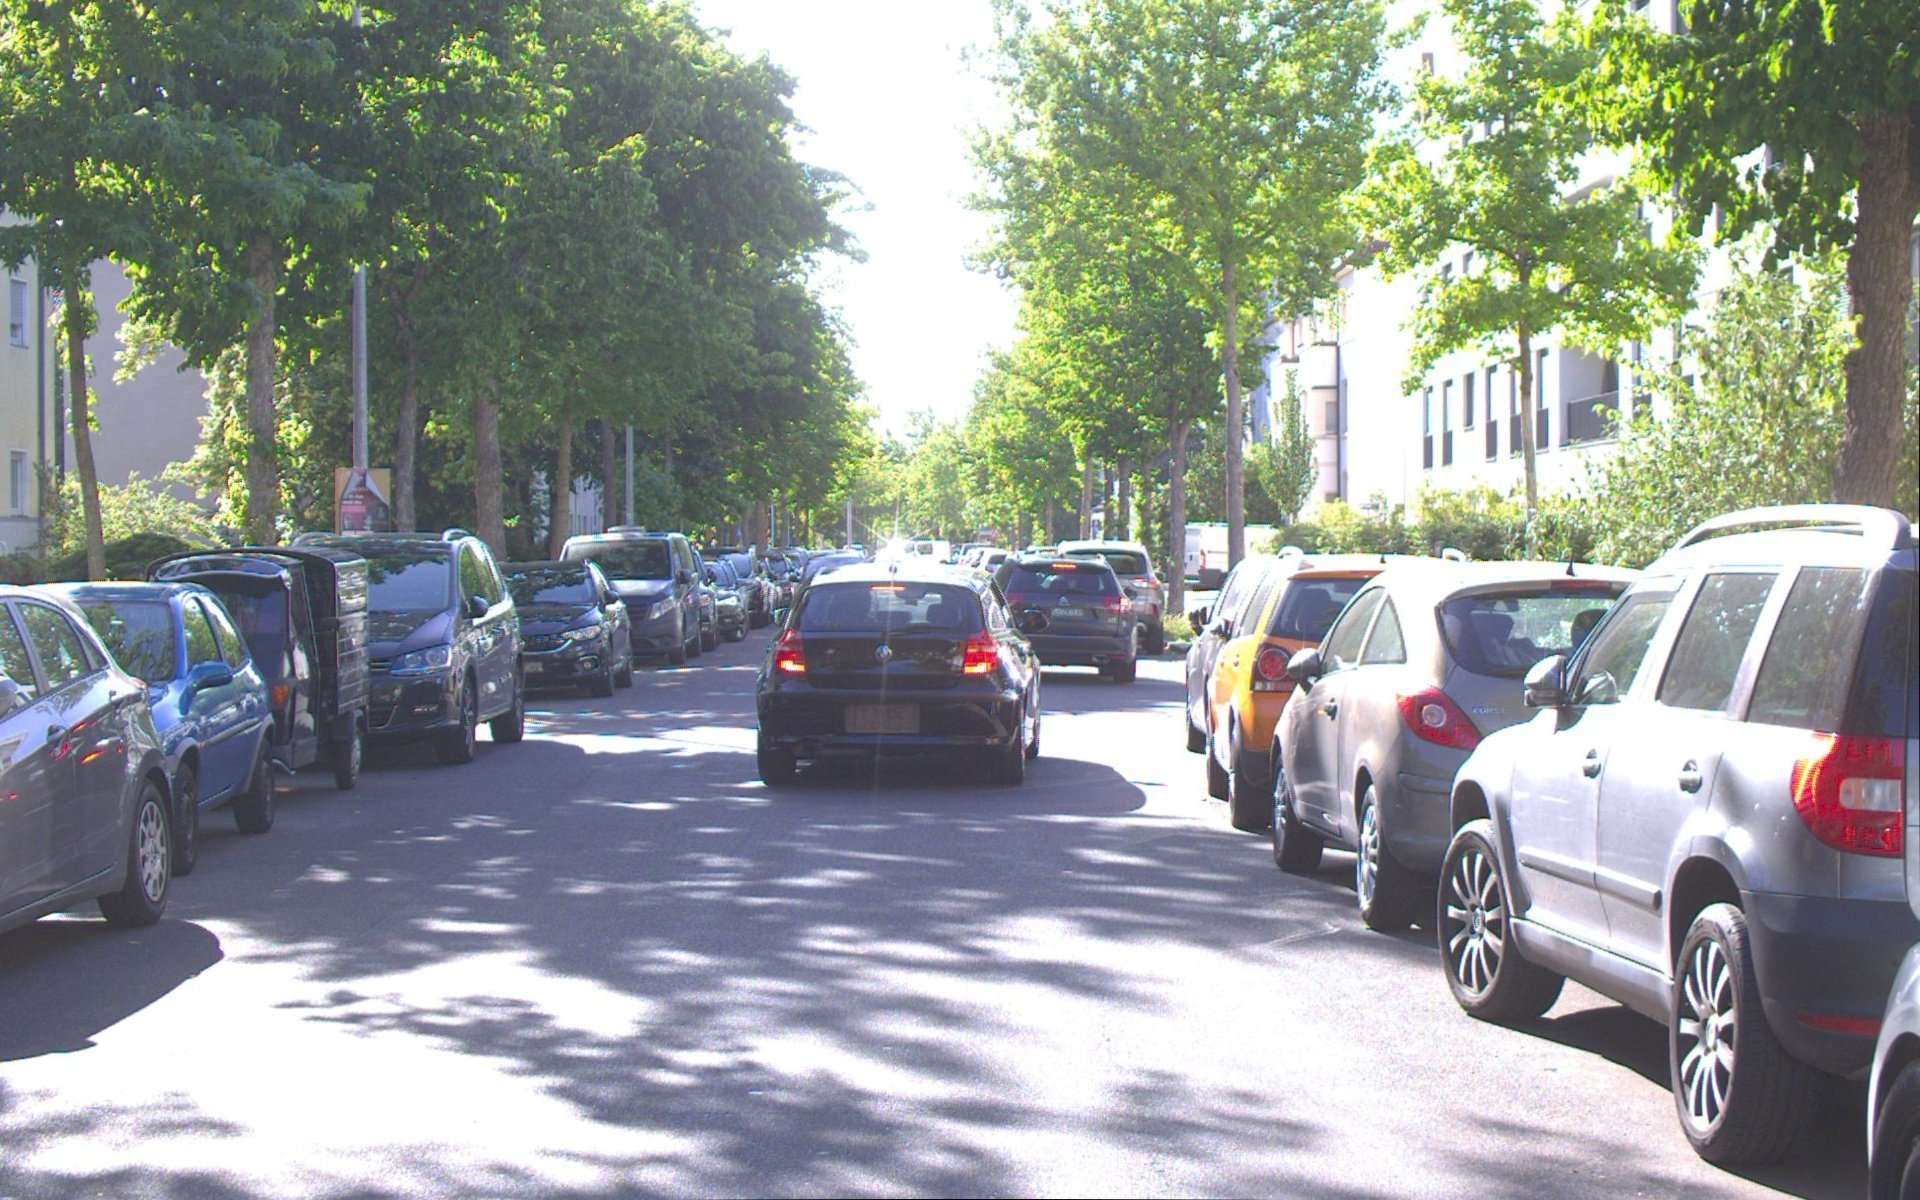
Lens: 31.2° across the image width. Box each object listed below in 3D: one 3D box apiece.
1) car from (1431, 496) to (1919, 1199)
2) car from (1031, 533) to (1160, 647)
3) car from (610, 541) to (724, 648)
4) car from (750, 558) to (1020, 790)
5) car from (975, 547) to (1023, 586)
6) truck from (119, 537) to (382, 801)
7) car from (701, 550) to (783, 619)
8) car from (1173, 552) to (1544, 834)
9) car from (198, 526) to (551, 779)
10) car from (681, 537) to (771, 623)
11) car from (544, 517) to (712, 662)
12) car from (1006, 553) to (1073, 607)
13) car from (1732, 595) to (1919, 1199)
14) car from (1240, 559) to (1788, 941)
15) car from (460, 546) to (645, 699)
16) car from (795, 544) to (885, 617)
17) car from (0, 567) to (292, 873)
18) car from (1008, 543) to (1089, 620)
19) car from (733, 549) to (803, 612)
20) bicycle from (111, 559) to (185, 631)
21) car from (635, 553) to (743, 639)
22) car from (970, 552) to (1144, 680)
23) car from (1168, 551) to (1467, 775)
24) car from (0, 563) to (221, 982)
[{"bbox_3d":[2.553,0.557,9.863,1.648,1.650,3.847,0,1,-4],"label":"car"},{"bbox_3d":[2.008,-0.163,51.991,1.848,1.625,4.410,1,0,1],"label":"car"},{"bbox_3d":[-4.615,-0.116,54.525,1.612,1.606,4.230,-1,1,-3],"label":"car"},{"bbox_3d":[-0.493,0.437,22.907,1.649,1.392,3.412,-1,1,-1],"label":"car"},{"bbox_3d":[1.538,-1.319,133.326,1.721,1.475,3.851,-1,1,3],"label":"car"},{"bbox_3d":[-4.453,0.393,21.801,1.084,1.572,2.432,0,1,2],"label":"truck"},{"bbox_3d":[-4.807,-0.362,76.072,1.612,1.447,3.866,-1,1,-1],"label":"car"},{"bbox_3d":[2.213,0.460,20.045,1.636,1.450,4.100,0,1,-1],"label":"car"},{"bbox_3d":[-4.374,0.322,26.432,1.849,1.675,4.977,-3,1,-1],"label":"car"},{"bbox_3d":[-4.765,-0.437,70.367,1.612,1.673,4.234,-1,1,-1],"label":"car"},{"bbox_3d":[-4.647,-0.182,48.808,1.826,1.898,5.142,-2,1,0],"label":"car"},{"bbox_3d":[2.149,-0.555,93.248,1.721,1.375,3.851,2,1,1],"label":"car"},{"bbox_3d":[2.497,0.729,5.220,1.629,1.420,4.368,-1,1,0],"label":"car"},{"bbox_3d":[2.275,0.552,14.983,1.649,1.423,3.613,-1,1,-2],"label":"car"},{"bbox_3d":[-4.488,0.205,38.389,1.507,1.543,4.779,-2,1,-1],"label":"car"},{"bbox_3d":[-2.393,-0.413,69.072,1.505,1.421,3.177,0,1,4],"label":"car"},{"bbox_3d":[-4.529,0.542,17.777,1.520,1.390,3.727,0,1,-2],"label":"car"},{"bbox_3d":[1.979,-0.437,78.128,1.721,1.635,3.851,2,1,1],"label":"car"},{"bbox_3d":[-4.876,-0.507,87.595,1.612,1.538,3.866,-1,1,-1],"label":"car"},{"bbox_3d":[-11.473,-0.080,48.628,0.594,0.988,1.928,-1,1,0],"label":"bicycle"},{"bbox_3d":[-4.691,-0.097,59.835,1.612,1.422,4.058,-1,1,-1],"label":"car"},{"bbox_3d":[1.105,0.150,40.885,1.649,1.421,4.002,-1,1,-4],"label":"car"},{"bbox_3d":[2.472,0.384,24.611,1.700,1.444,4.082,-1,1,0],"label":"car"},{"bbox_3d":[-4.246,0.625,12.934,1.792,1.439,4.688,-2,1,1],"label":"car"}]
